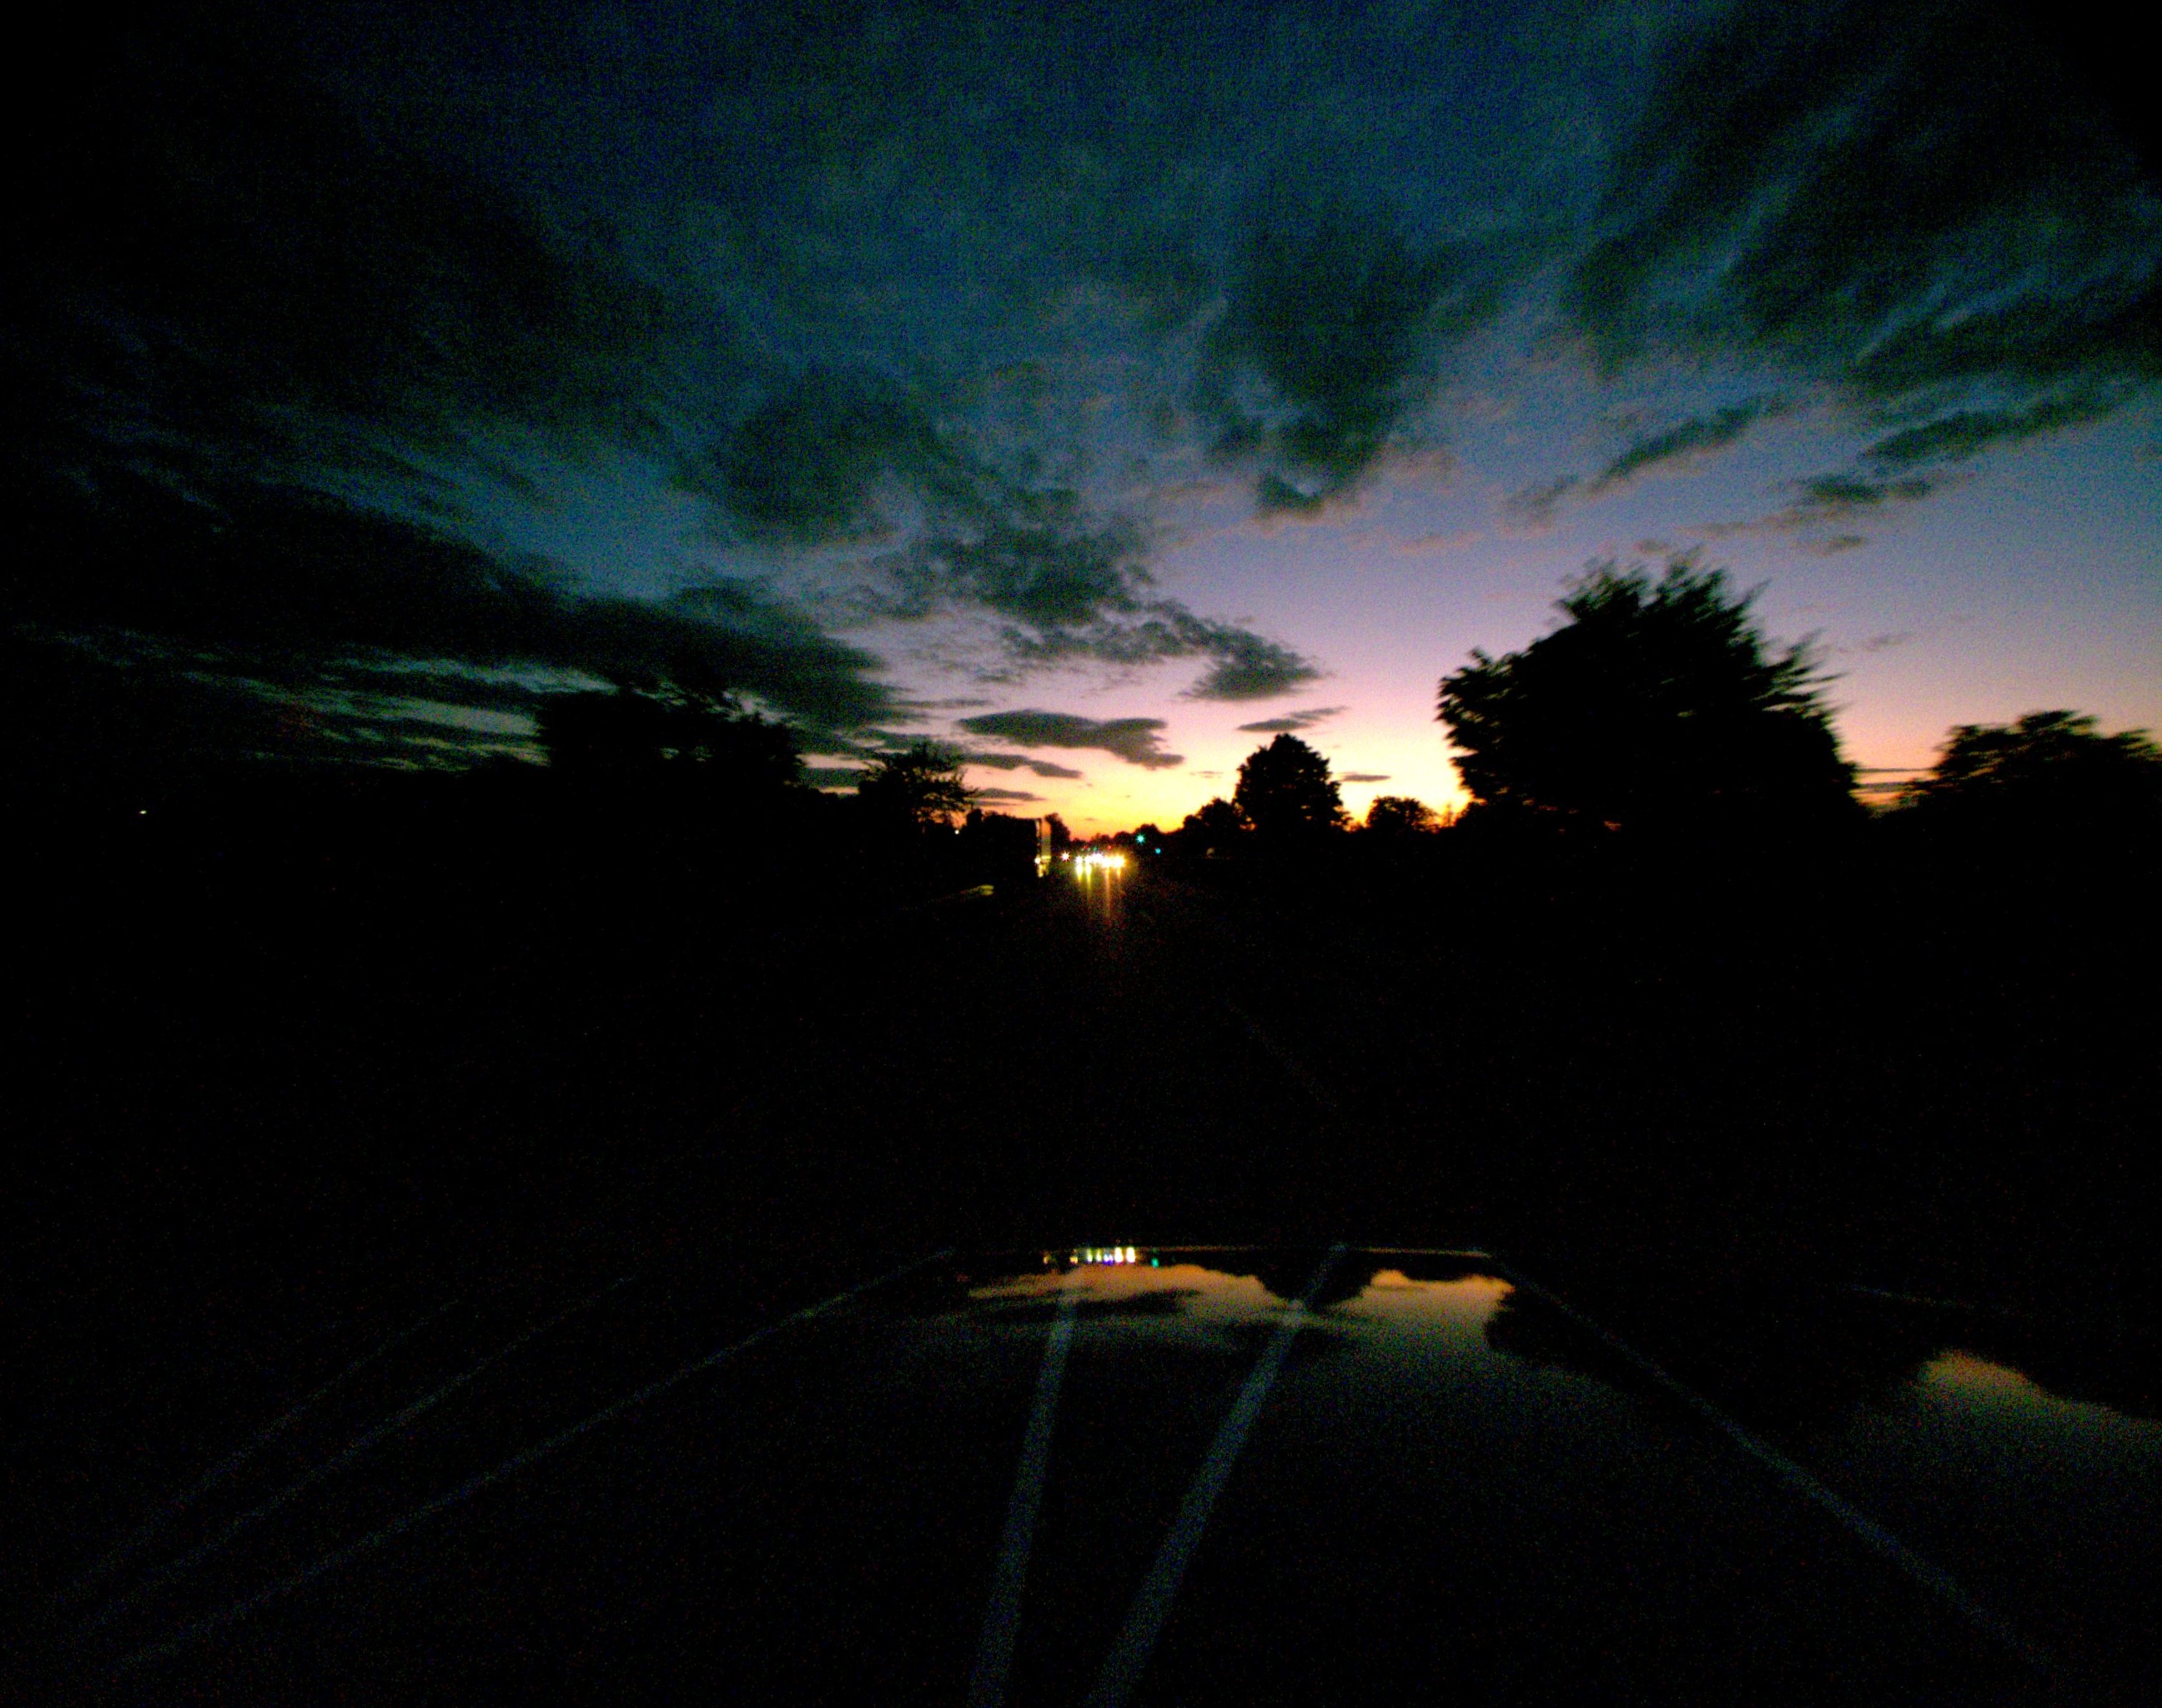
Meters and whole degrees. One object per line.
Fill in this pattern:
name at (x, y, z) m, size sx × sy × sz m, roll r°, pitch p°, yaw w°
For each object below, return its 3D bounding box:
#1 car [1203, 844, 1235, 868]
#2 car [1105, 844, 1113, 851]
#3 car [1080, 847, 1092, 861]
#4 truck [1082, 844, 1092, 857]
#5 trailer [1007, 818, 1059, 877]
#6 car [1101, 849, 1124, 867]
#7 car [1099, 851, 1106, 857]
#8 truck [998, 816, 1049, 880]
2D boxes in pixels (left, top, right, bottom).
car at (12.968, 0.168, 71.827) m, size 1.970 × 2.087 × 5.346 m, roll -2°, pitch 1°, yaw 0°
car at (8.399, -1.901, 227.172) m, size 1.999 × 2.002 × 3.999 m, roll -2°, pitch 1°, yaw 0°
car at (0.696, -0.018, 116.291) m, size 1.741 × 2.002 × 4.000 m, roll -2°, pitch 0°, yaw 0°
truck at (1.790, -1.160, 236.716) m, size 3.016 × 3.674 × 9.057 m, roll -2°, pitch 1°, yaw 0°
trailer at (-3.328, -0.486, 56.415) m, size 2.474 × 3.790 × 12.671 m, roll -2°, pitch 1°, yaw 2°
car at (3.133, 0.348, 76.354) m, size 1.999 × 1.635 × 4.296 m, roll -2°, pitch 1°, yaw -1°
car at (7.001, 0.047, 244.491) m, size 1.998 × 2.002 × 4.000 m, roll -2°, pitch 1°, yaw 2°
truck at (-3.621, -0.380, 48.692) m, size 2.490 × 3.778 × 5.498 m, roll -2°, pitch 1°, yaw 2°
